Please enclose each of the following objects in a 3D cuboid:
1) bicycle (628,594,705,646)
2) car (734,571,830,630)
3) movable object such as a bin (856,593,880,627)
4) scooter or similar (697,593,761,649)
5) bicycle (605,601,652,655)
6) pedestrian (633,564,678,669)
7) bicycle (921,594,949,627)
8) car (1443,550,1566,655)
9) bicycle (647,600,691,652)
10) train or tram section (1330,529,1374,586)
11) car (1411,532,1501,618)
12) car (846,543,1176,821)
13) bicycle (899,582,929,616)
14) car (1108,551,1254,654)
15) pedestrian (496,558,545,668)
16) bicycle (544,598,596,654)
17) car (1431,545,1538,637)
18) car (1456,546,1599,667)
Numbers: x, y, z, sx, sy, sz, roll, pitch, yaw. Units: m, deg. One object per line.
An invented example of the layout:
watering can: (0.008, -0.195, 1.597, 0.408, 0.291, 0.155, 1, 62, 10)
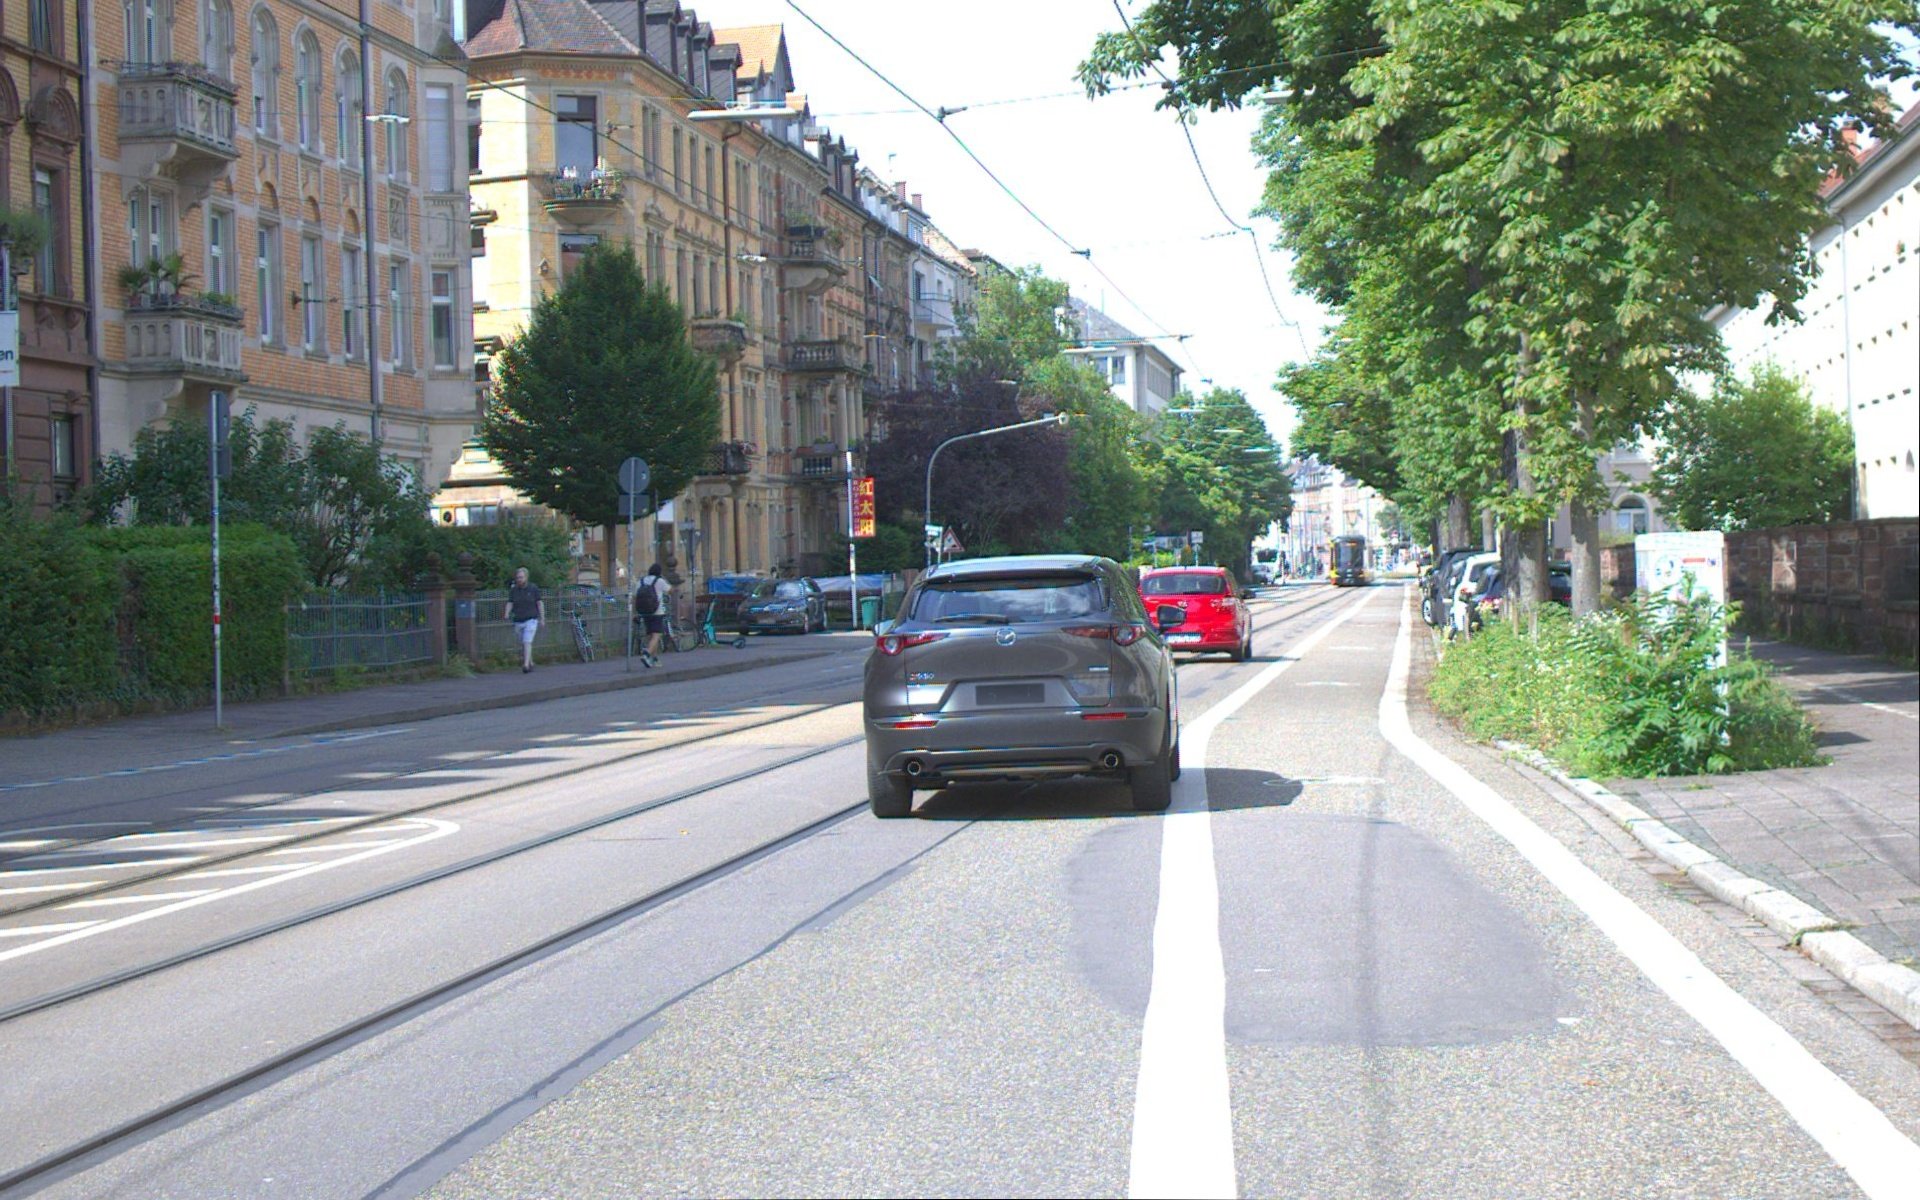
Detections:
bicycle: (-5.882, 0.400, 68.964, 1.453, 0.973, 0.404, -2, 0, 8)
car: (-4.747, -0.007, 92.331, 1.686, 1.454, 4.763, -2, 0, 8)
movable object such as a bin: (-2.534, 0.265, 94.723, 0.525, 0.903, 0.636, -2, 0, 6)
scooter or similar: (-5.215, 0.475, 77.621, 1.361, 1.230, 0.404, -1, 0, -21)
bicycle: (-6.201, 0.519, 64.354, 0.421, 0.973, 1.949, -2, 0, 7)
pedestrian: (-5.118, 0.269, 57.816, 0.533, 1.754, 1.105, 0, 0, 7)
bicycle: (-0.744, 0.314, 102.633, 0.530, 0.943, 1.967, -2, 0, 7)
car: (8.709, 0.011, 55.218, 1.742, 1.575, 4.248, -2, 0, 7)
bicycle: (-5.676, 0.494, 67.093, 0.421, 0.973, 1.949, -2, 0, 7)
train or tram section: (27.400, -2.996, 240.571, 2.572, 3.760, 13.024, -2, 1, 5)
car: (10.912, -0.568, 75.807, 1.827, 1.776, 4.732, -2, 1, 7)
car: (0.397, 0.437, 21.276, 1.721, 1.521, 3.589, -2, 1, 5)
bicycle: (-1.324, -0.046, 99.246, 0.530, 0.943, 1.967, -2, 0, 7)
car: (3.458, 0.026, 53.192, 1.994, 1.523, 3.999, 0, 0, 7)
pedestrian: (-6.947, 0.199, 54.395, 0.487, 1.697, 1.151, -2, 0, 6)
bicycle: (-6.774, 0.451, 59.771, 0.421, 0.929, 1.949, -2, 0, 7)
car: (10.038, -0.188, 66.083, 1.863, 1.647, 4.636, -2, 0, 7)
car: (7.607, 0.062, 46.380, 1.661, 1.516, 4.287, -2, 0, 7)
